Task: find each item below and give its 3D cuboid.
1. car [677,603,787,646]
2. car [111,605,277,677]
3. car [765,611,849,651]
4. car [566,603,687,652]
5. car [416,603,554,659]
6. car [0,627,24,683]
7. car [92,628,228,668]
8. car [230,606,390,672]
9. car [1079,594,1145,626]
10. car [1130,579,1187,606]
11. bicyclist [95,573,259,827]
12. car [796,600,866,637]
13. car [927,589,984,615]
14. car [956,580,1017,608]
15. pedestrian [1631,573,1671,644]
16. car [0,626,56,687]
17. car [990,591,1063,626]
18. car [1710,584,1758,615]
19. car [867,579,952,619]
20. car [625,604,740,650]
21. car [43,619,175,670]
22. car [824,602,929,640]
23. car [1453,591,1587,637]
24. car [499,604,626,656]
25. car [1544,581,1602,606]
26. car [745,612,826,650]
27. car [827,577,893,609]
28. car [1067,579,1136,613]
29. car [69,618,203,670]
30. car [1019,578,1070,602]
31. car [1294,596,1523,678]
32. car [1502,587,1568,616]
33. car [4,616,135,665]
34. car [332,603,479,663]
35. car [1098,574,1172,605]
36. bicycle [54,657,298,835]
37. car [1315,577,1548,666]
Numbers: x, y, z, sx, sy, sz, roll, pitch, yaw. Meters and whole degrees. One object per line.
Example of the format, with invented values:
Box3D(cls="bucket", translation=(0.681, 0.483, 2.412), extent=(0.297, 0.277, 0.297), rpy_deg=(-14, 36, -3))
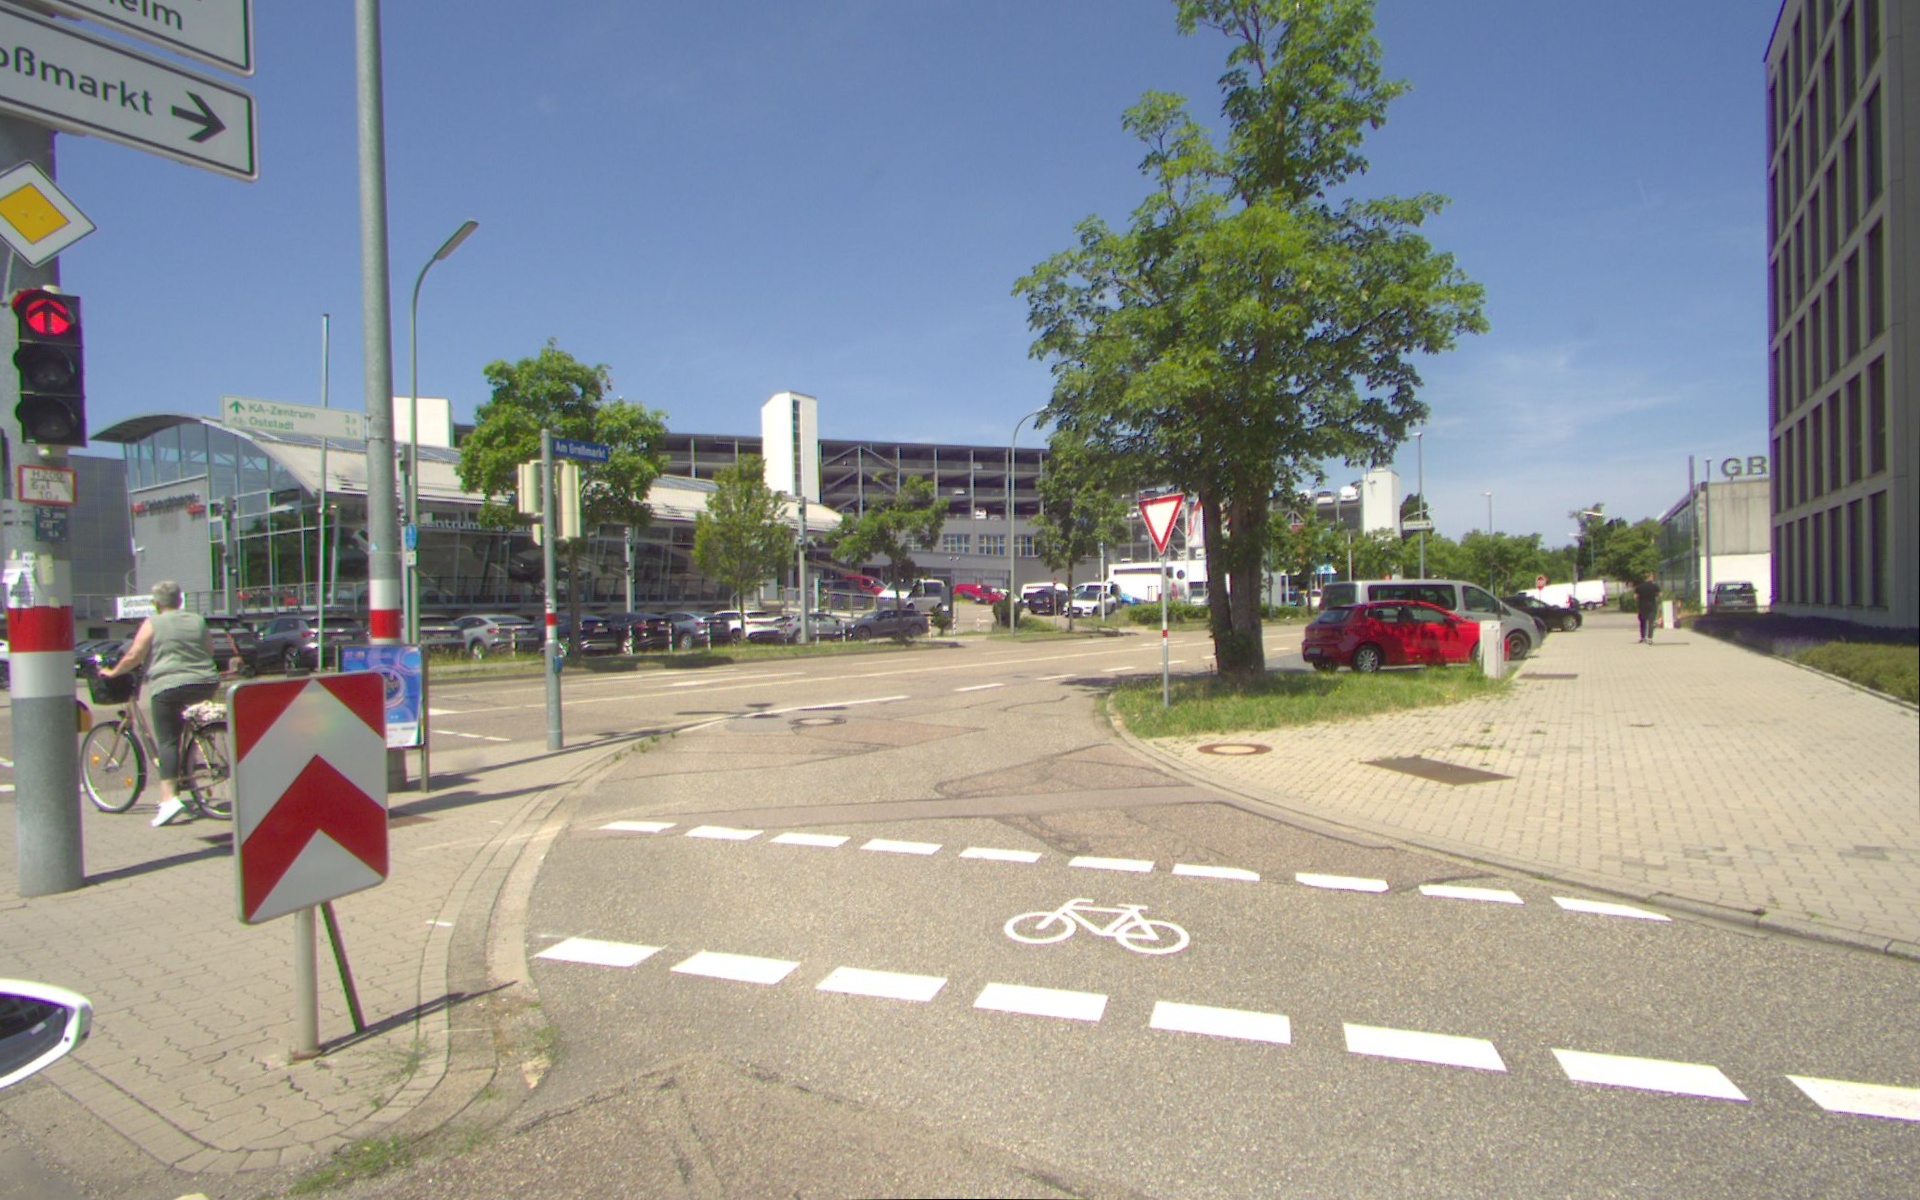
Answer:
Box3D(cls="car", translation=(-9.439, 0.988, 41.347), extent=(4.410, 1.662, 1.823), rpy_deg=(-1, 1, 32))
Box3D(cls="car", translation=(-19.423, 0.991, 25.363), extent=(4.207, 1.661, 1.989), rpy_deg=(-1, 0, 32))
Box3D(cls="car", translation=(-7.519, 1.501, 49.284), extent=(3.659, 1.801, 1.739), rpy_deg=(-1, 0, -31))
Box3D(cls="car", translation=(-12.280, 0.979, 36.798), extent=(4.410, 1.662, 1.823), rpy_deg=(-1, 1, 32))
Box3D(cls="car", translation=(-15.229, 0.960, 32.064), extent=(4.460, 1.661, 1.881), rpy_deg=(-1, 1, 32))
Box3D(cls="car", translation=(-27.282, 1.509, 25.501), extent=(1.973, 1.476, 4.729), rpy_deg=(-2, -1, 34))
Box3D(cls="car", translation=(-32.937, 1.927, 41.326), extent=(1.694, 1.480, 4.083), rpy_deg=(0, 0, 33))
Box3D(cls="car", translation=(-17.913, 1.018, 27.539), extent=(4.492, 1.661, 1.989), rpy_deg=(-1, 0, 32))
Box3D(cls="car", translation=(10.172, 0.675, 66.995), extent=(3.943, 2.040, 1.989), rpy_deg=(-1, 0, 32))
Box3D(cls="car", translation=(15.506, -0.556, 78.272), extent=(3.945, 2.040, 1.988), rpy_deg=(-1, 0, 34))
Box3D(cls="bicyclist", translation=(-5.850, 0.710, 7.497), extent=(0.742, 1.772, 0.733), rpy_deg=(0, 0, 28))
Box3D(cls="car", translation=(-7.450, 1.074, 58.157), extent=(1.839, 2.040, 3.733), rpy_deg=(-1, 0, 41))
Box3D(cls="car", translation=(-0.350, 0.159, 74.405), extent=(3.943, 1.810, 1.730), rpy_deg=(-1, 0, 32))
Box3D(cls="car", translation=(2.042, -0.465, 77.721), extent=(4.286, 2.040, 1.990), rpy_deg=(-1, 0, 30))
Box3D(cls="pedestrian", translation=(18.471, 0.229, 26.762), extent=(0.764, 1.869, 0.861), rpy_deg=(-2, 0, 40))
Box3D(cls="car", translation=(-25.192, 1.420, 24.119), extent=(1.973, 1.476, 4.729), rpy_deg=(0, 0, 34))
Box3D(cls="car", translation=(4.043, 0.516, 61.020), extent=(3.943, 2.040, 1.989), rpy_deg=(-1, 0, 32))
Box3D(cls="car", translation=(42.080, -0.039, 54.477), extent=(1.765, 1.542, 3.556), rpy_deg=(-2, 0, 33))
Box3D(cls="car", translation=(-2.639, -0.036, 53.999), extent=(1.972, 2.040, 5.117), rpy_deg=(-1, 0, 32))
Box3D(cls="car", translation=(-10.850, 1.031, 39.059), extent=(4.410, 1.662, 1.823), rpy_deg=(-1, 1, 32))
Box3D(cls="car", translation=(-37.288, 1.906, 43.957), extent=(1.972, 2.040, 3.977), rpy_deg=(-1, 0, 33))
Box3D(cls="car", translation=(-3.935, 0.942, 47.618), extent=(4.702, 1.662, 1.821), rpy_deg=(-1, 1, -35))
Box3D(cls="car", translation=(21.633, 0.555, 38.792), extent=(4.075, 1.558, 1.815), rpy_deg=(-3, -1, 2))
Box3D(cls="car", translation=(-13.709, 1.004, 34.465), extent=(4.410, 1.662, 1.823), rpy_deg=(-1, 1, 32))
Box3D(cls="car", translation=(55.200, -0.555, 90.182), extent=(4.304, 2.149, 2.080), rpy_deg=(-1, 0, 36))
Box3D(cls="car", translation=(-8.936, 1.553, 51.373), extent=(3.712, 1.795, 1.761), rpy_deg=(-1, 0, -28))
Box3D(cls="car", translation=(-6.700, -0.477, 67.292), extent=(3.937, 2.040, 1.992), rpy_deg=(-1, 0, 27))
Box3D(cls="car", translation=(9.011, -0.232, 63.861), extent=(3.943, 2.040, 1.840), rpy_deg=(-1, 0, 32))
Box3D(cls="car", translation=(-34.912, 1.816, 42.523), extent=(1.972, 2.040, 3.977), rpy_deg=(-1, 0, 33))
Box3D(cls="car", translation=(7.758, -0.900, 92.153), extent=(4.257, 2.040, 1.989), rpy_deg=(-1, 0, 32))
Box3D(cls="car", translation=(8.957, 0.704, 20.132), extent=(3.924, 1.454, 1.609), rpy_deg=(-2, 0, -8))
Box3D(cls="car", translation=(41.656, 0.136, 72.538), extent=(3.949, 2.040, 1.986), rpy_deg=(-1, 0, 37))
Box3D(cls="car", translation=(-39.660, 1.761, 44.672), extent=(1.972, 2.040, 3.977), rpy_deg=(-1, 0, 33))
Box3D(cls="car", translation=(-16.725, 0.963, 30.162), extent=(4.377, 1.661, 1.989), rpy_deg=(-1, 1, 32))
Box3D(cls="car", translation=(12.019, -0.705, 68.879), extent=(4.578, 2.040, 1.989), rpy_deg=(-1, 0, 32))
Box3D(cls="bicycle", translation=(-5.953, 1.035, 7.585), extent=(1.891, 1.142, 0.786), rpy_deg=(0, 0, 29))
Box3D(cls="car", translation=(10.916, 0.457, 23.274), extent=(4.814, 1.840, 1.703), rpy_deg=(-2, 2, -10))
